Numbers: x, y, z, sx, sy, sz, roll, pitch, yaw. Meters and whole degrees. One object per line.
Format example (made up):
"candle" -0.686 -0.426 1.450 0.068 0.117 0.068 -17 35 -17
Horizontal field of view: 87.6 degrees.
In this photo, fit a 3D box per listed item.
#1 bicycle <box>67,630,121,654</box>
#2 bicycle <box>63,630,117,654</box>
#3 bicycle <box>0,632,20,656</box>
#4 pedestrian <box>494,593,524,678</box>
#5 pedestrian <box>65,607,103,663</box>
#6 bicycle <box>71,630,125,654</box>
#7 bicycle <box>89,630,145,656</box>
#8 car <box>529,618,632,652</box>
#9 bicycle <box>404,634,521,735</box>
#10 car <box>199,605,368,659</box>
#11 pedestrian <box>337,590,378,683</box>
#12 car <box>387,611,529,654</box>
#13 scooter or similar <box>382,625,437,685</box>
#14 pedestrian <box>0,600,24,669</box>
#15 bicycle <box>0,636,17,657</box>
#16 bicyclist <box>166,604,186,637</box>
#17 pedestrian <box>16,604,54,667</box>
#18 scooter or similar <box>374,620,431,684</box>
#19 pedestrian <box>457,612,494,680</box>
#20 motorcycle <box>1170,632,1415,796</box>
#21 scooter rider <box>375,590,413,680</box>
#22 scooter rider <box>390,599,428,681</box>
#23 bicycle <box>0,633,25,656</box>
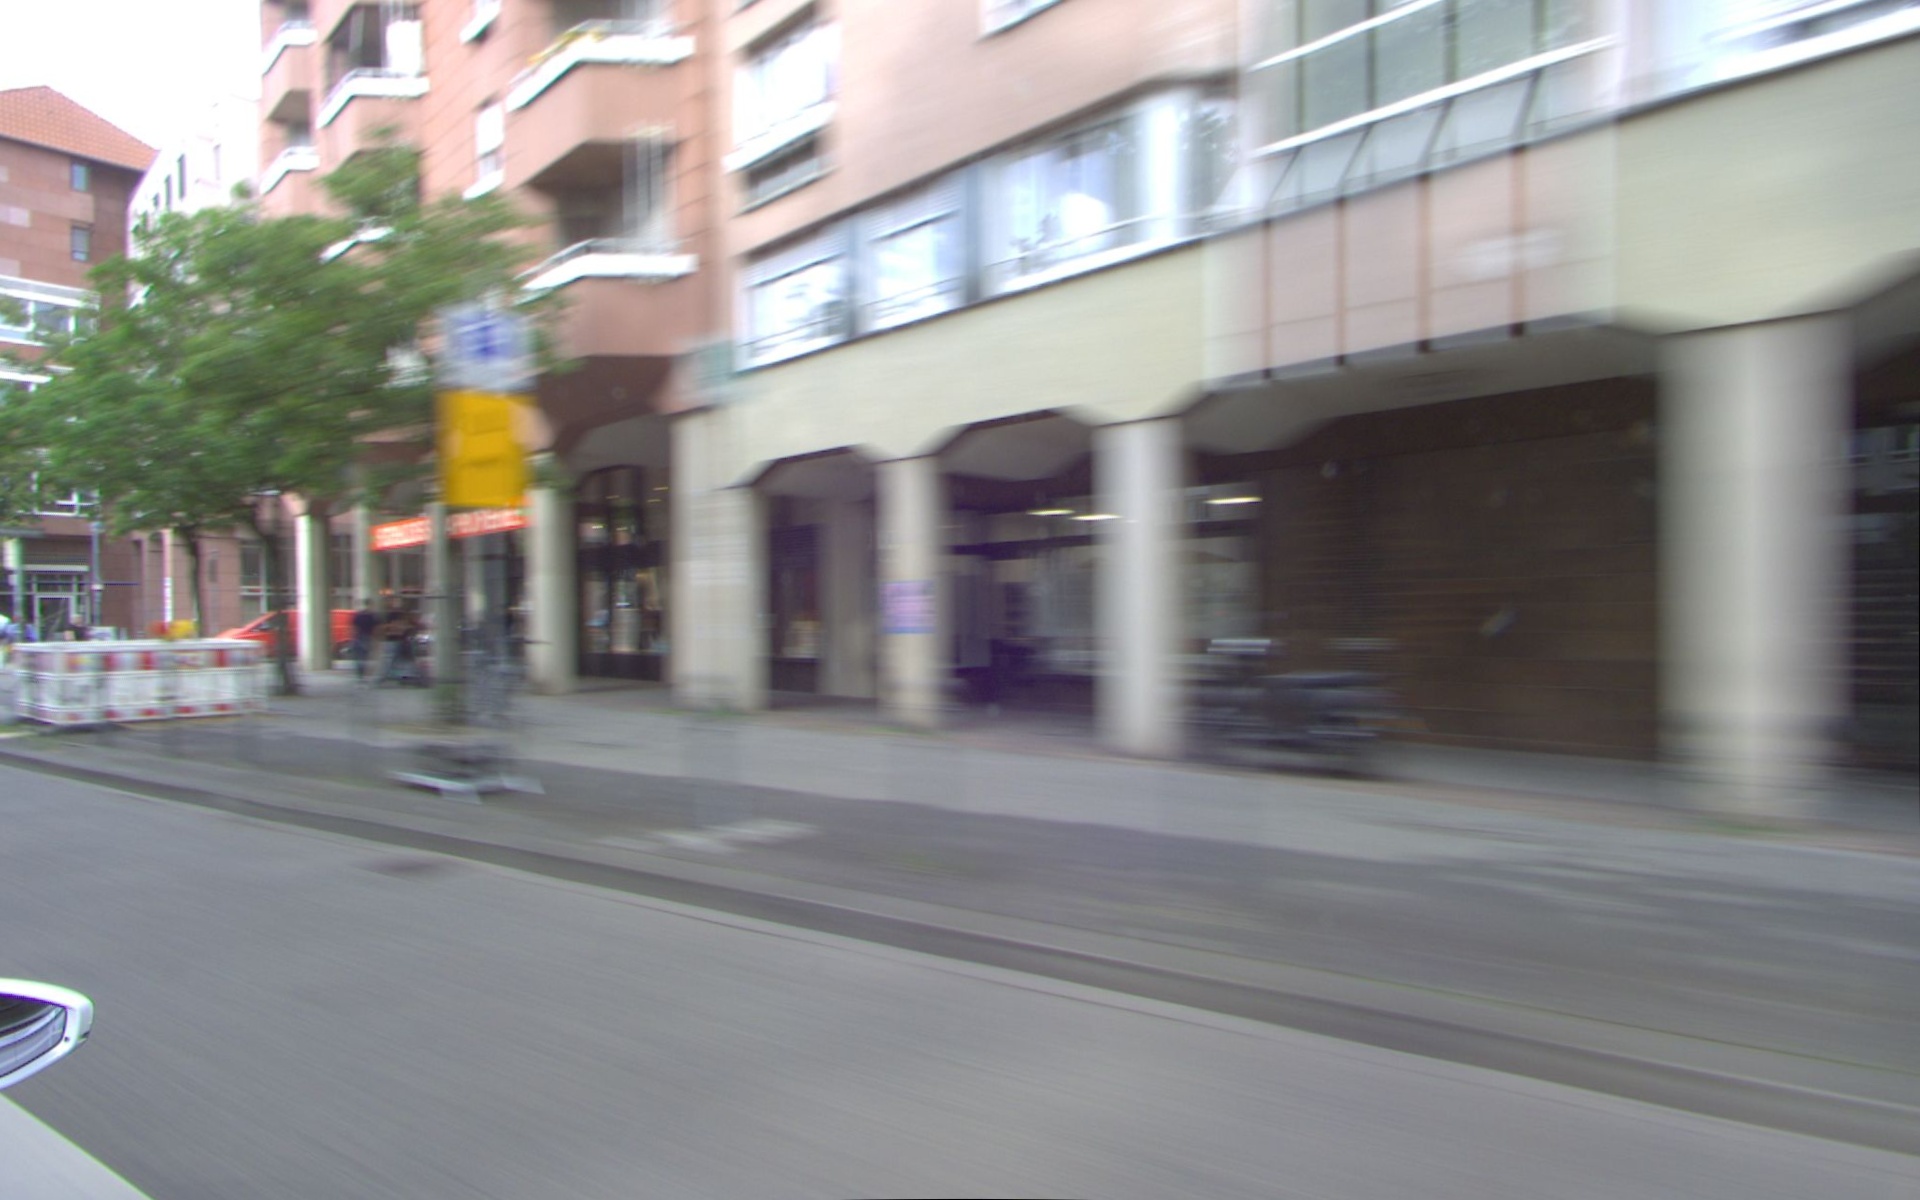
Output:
"bicycle" -37.548 1.803 43.410 0.432 1.021 1.723 0 -1 38
"bicycle" -37.947 1.811 43.705 0.425 1.021 1.723 0 -1 38
"bicycle" -37.485 1.723 38.927 1.286 0.880 0.450 -3 1 -37
"pedestrian" -9.869 0.769 21.908 0.545 1.823 0.654 0 0 -28
"pedestrian" -25.169 0.992 28.782 0.935 1.558 0.673 0 0 39
"bicycle" -37.122 1.796 43.130 0.465 1.021 1.723 0 -1 38
"bicycle" -34.757 1.772 41.300 0.539 1.021 1.723 0 -1 38
"car" -16.871 1.532 44.578 1.708 1.423 3.945 -3 -2 43
"bicycle" -6.129 0.994 12.301 1.782 1.132 0.610 0 0 39
"car" -24.486 1.153 36.380 1.980 1.848 4.799 -3 -2 43
"pedestrian" -11.958 0.717 19.878 0.650 1.823 0.548 0 0 43
"car" -20.483 1.315 41.010 1.980 1.610 4.799 -3 -3 43
"scooter or similar" -11.381 1.118 20.673 1.390 1.185 0.551 -1 0 41
"pedestrian" -26.046 0.929 27.289 0.840 1.852 0.673 0 0 38
"bicycle" -37.141 1.793 38.477 1.287 0.824 0.441 0 -1 -37
"bicyclist" -29.843 0.777 38.116 0.489 1.261 0.479 0 0 -21
"pedestrian" -25.869 0.974 28.011 1.010 1.723 0.649 0 0 40
"scooter or similar" -10.915 1.002 19.597 1.313 1.222 0.472 0 0 36
"pedestrian" -9.690 0.916 20.022 0.478 1.341 0.486 0 0 30
"motorcycle" 2.751 0.894 8.449 1.883 1.171 0.613 0 2 43
"scooter rider" -11.171 0.687 19.757 0.545 1.743 0.461 0 0 36
"scooter rider" -10.697 0.767 19.434 0.557 1.577 0.459 0 0 36
"bicycle" -36.587 1.711 38.232 1.289 0.849 0.450 0 -1 -41
